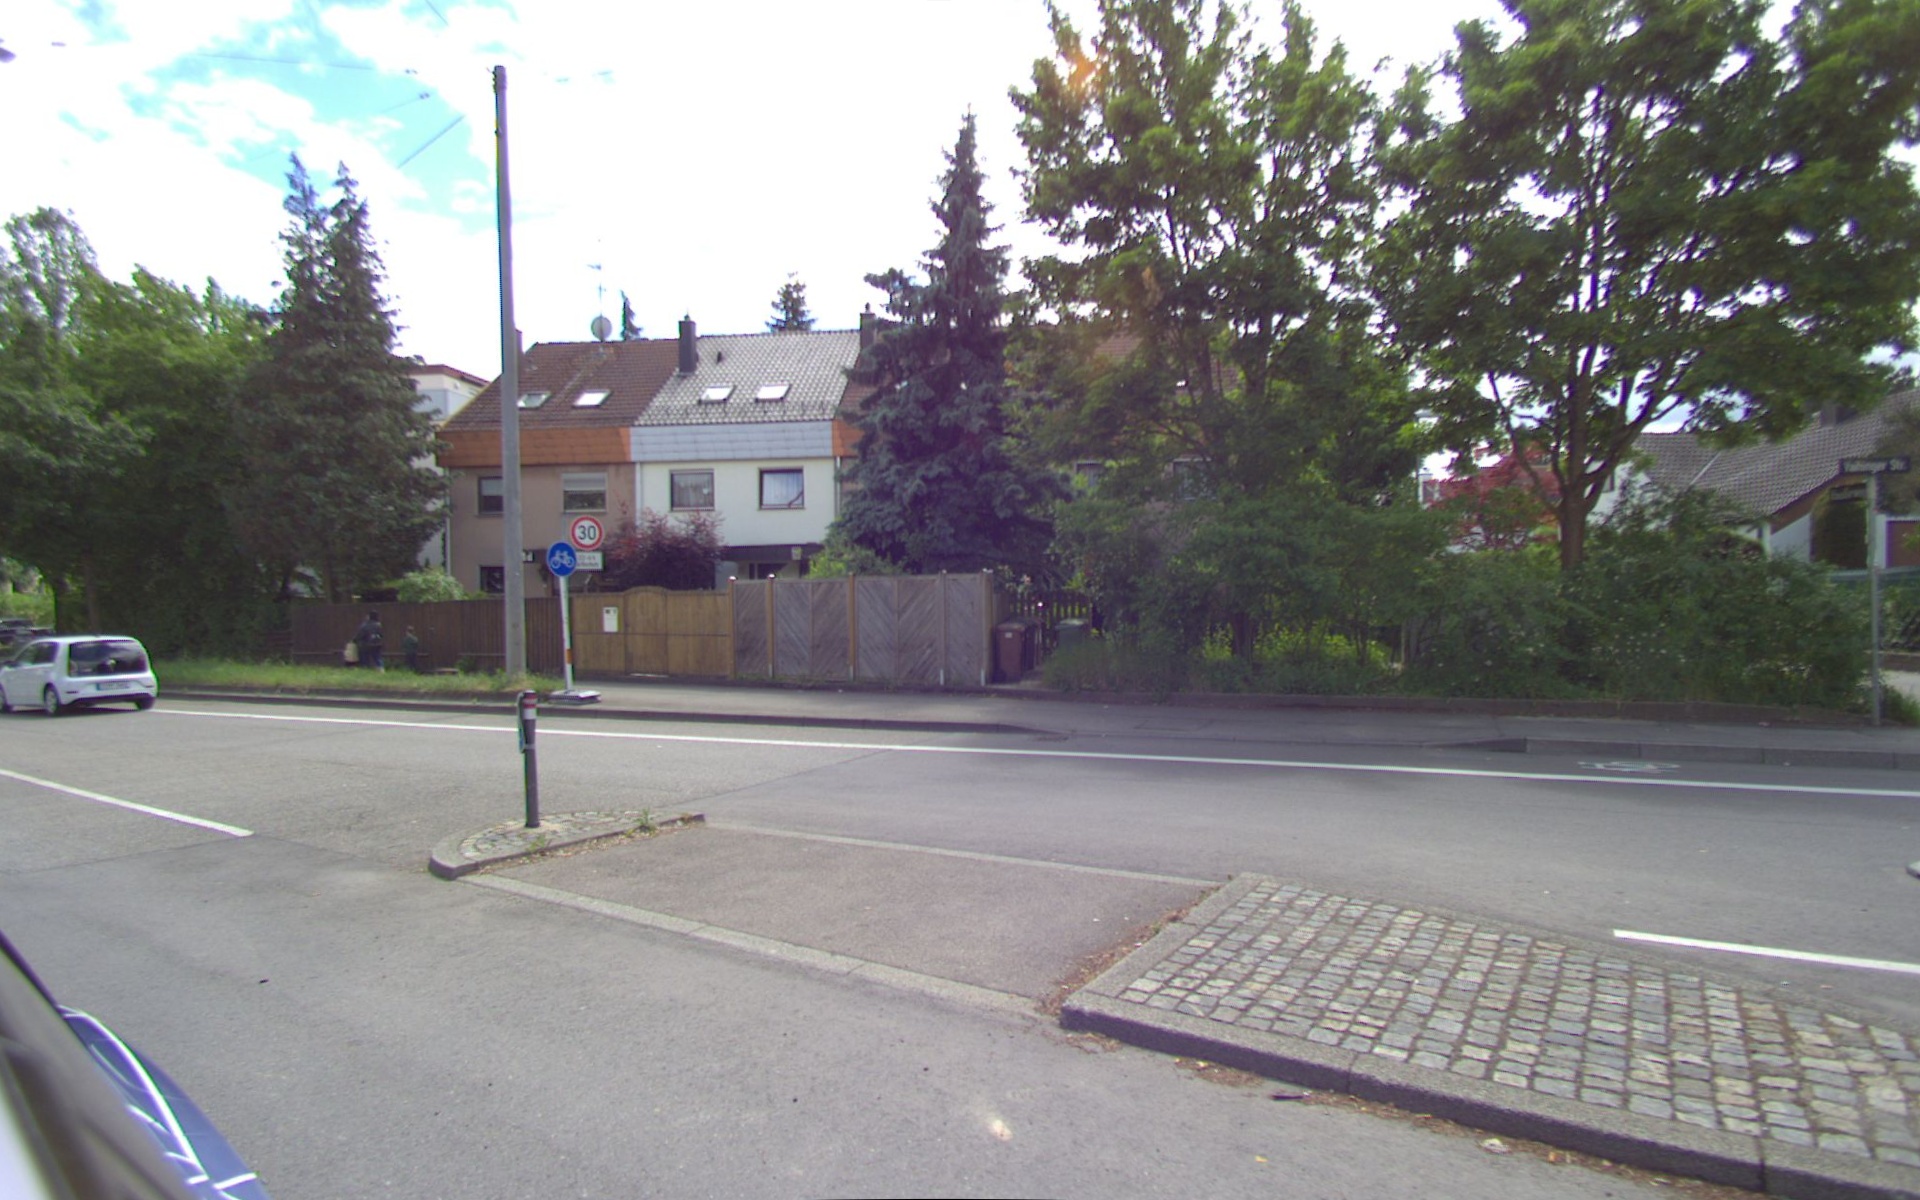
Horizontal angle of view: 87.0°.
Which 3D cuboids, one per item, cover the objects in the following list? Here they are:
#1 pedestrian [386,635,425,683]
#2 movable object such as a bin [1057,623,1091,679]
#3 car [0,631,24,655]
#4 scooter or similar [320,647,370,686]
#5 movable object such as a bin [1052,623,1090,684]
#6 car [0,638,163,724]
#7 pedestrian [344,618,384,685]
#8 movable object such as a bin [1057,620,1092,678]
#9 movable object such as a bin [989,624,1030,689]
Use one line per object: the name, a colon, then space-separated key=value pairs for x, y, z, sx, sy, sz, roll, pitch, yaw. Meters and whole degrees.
pedestrian: x=-13.145 y=1.382 z=23.997 sx=0.640 sy=1.094 sz=0.550 roll=-2 pitch=0 yaw=33
movable object such as a bin: x=2.034 y=0.904 z=18.027 sx=0.521 sy=0.985 sz=0.376 roll=-1 pitch=-1 yaw=18
car: x=-64.455 y=2.874 z=66.483 sx=1.976 sy=1.519 sz=3.991 roll=-2 pitch=0 yaw=7
scooter or similar: x=-14.368 y=1.544 z=23.642 sx=1.027 sy=0.871 sz=0.631 roll=-2 pitch=0 yaw=34
movable object such as a bin: x=1.847 y=0.885 z=16.839 sx=0.543 sy=0.985 sz=0.370 roll=-1 pitch=-1 yaw=18
car: x=-17.804 y=1.549 z=20.028 sx=3.979 sy=1.524 sz=1.684 roll=-2 pitch=-1 yaw=27
pedestrian: x=-13.662 y=1.170 z=23.195 sx=0.640 sy=1.492 sz=0.550 roll=-2 pitch=0 yaw=33
movable object such as a bin: x=1.990 y=0.848 z=17.593 sx=0.521 sy=0.985 sz=0.376 roll=-1 pitch=-1 yaw=18
movable object such as a bin: x=0.799 y=0.912 z=16.466 sx=0.493 sy=1.018 sz=0.472 roll=-2 pitch=-1 yaw=30
